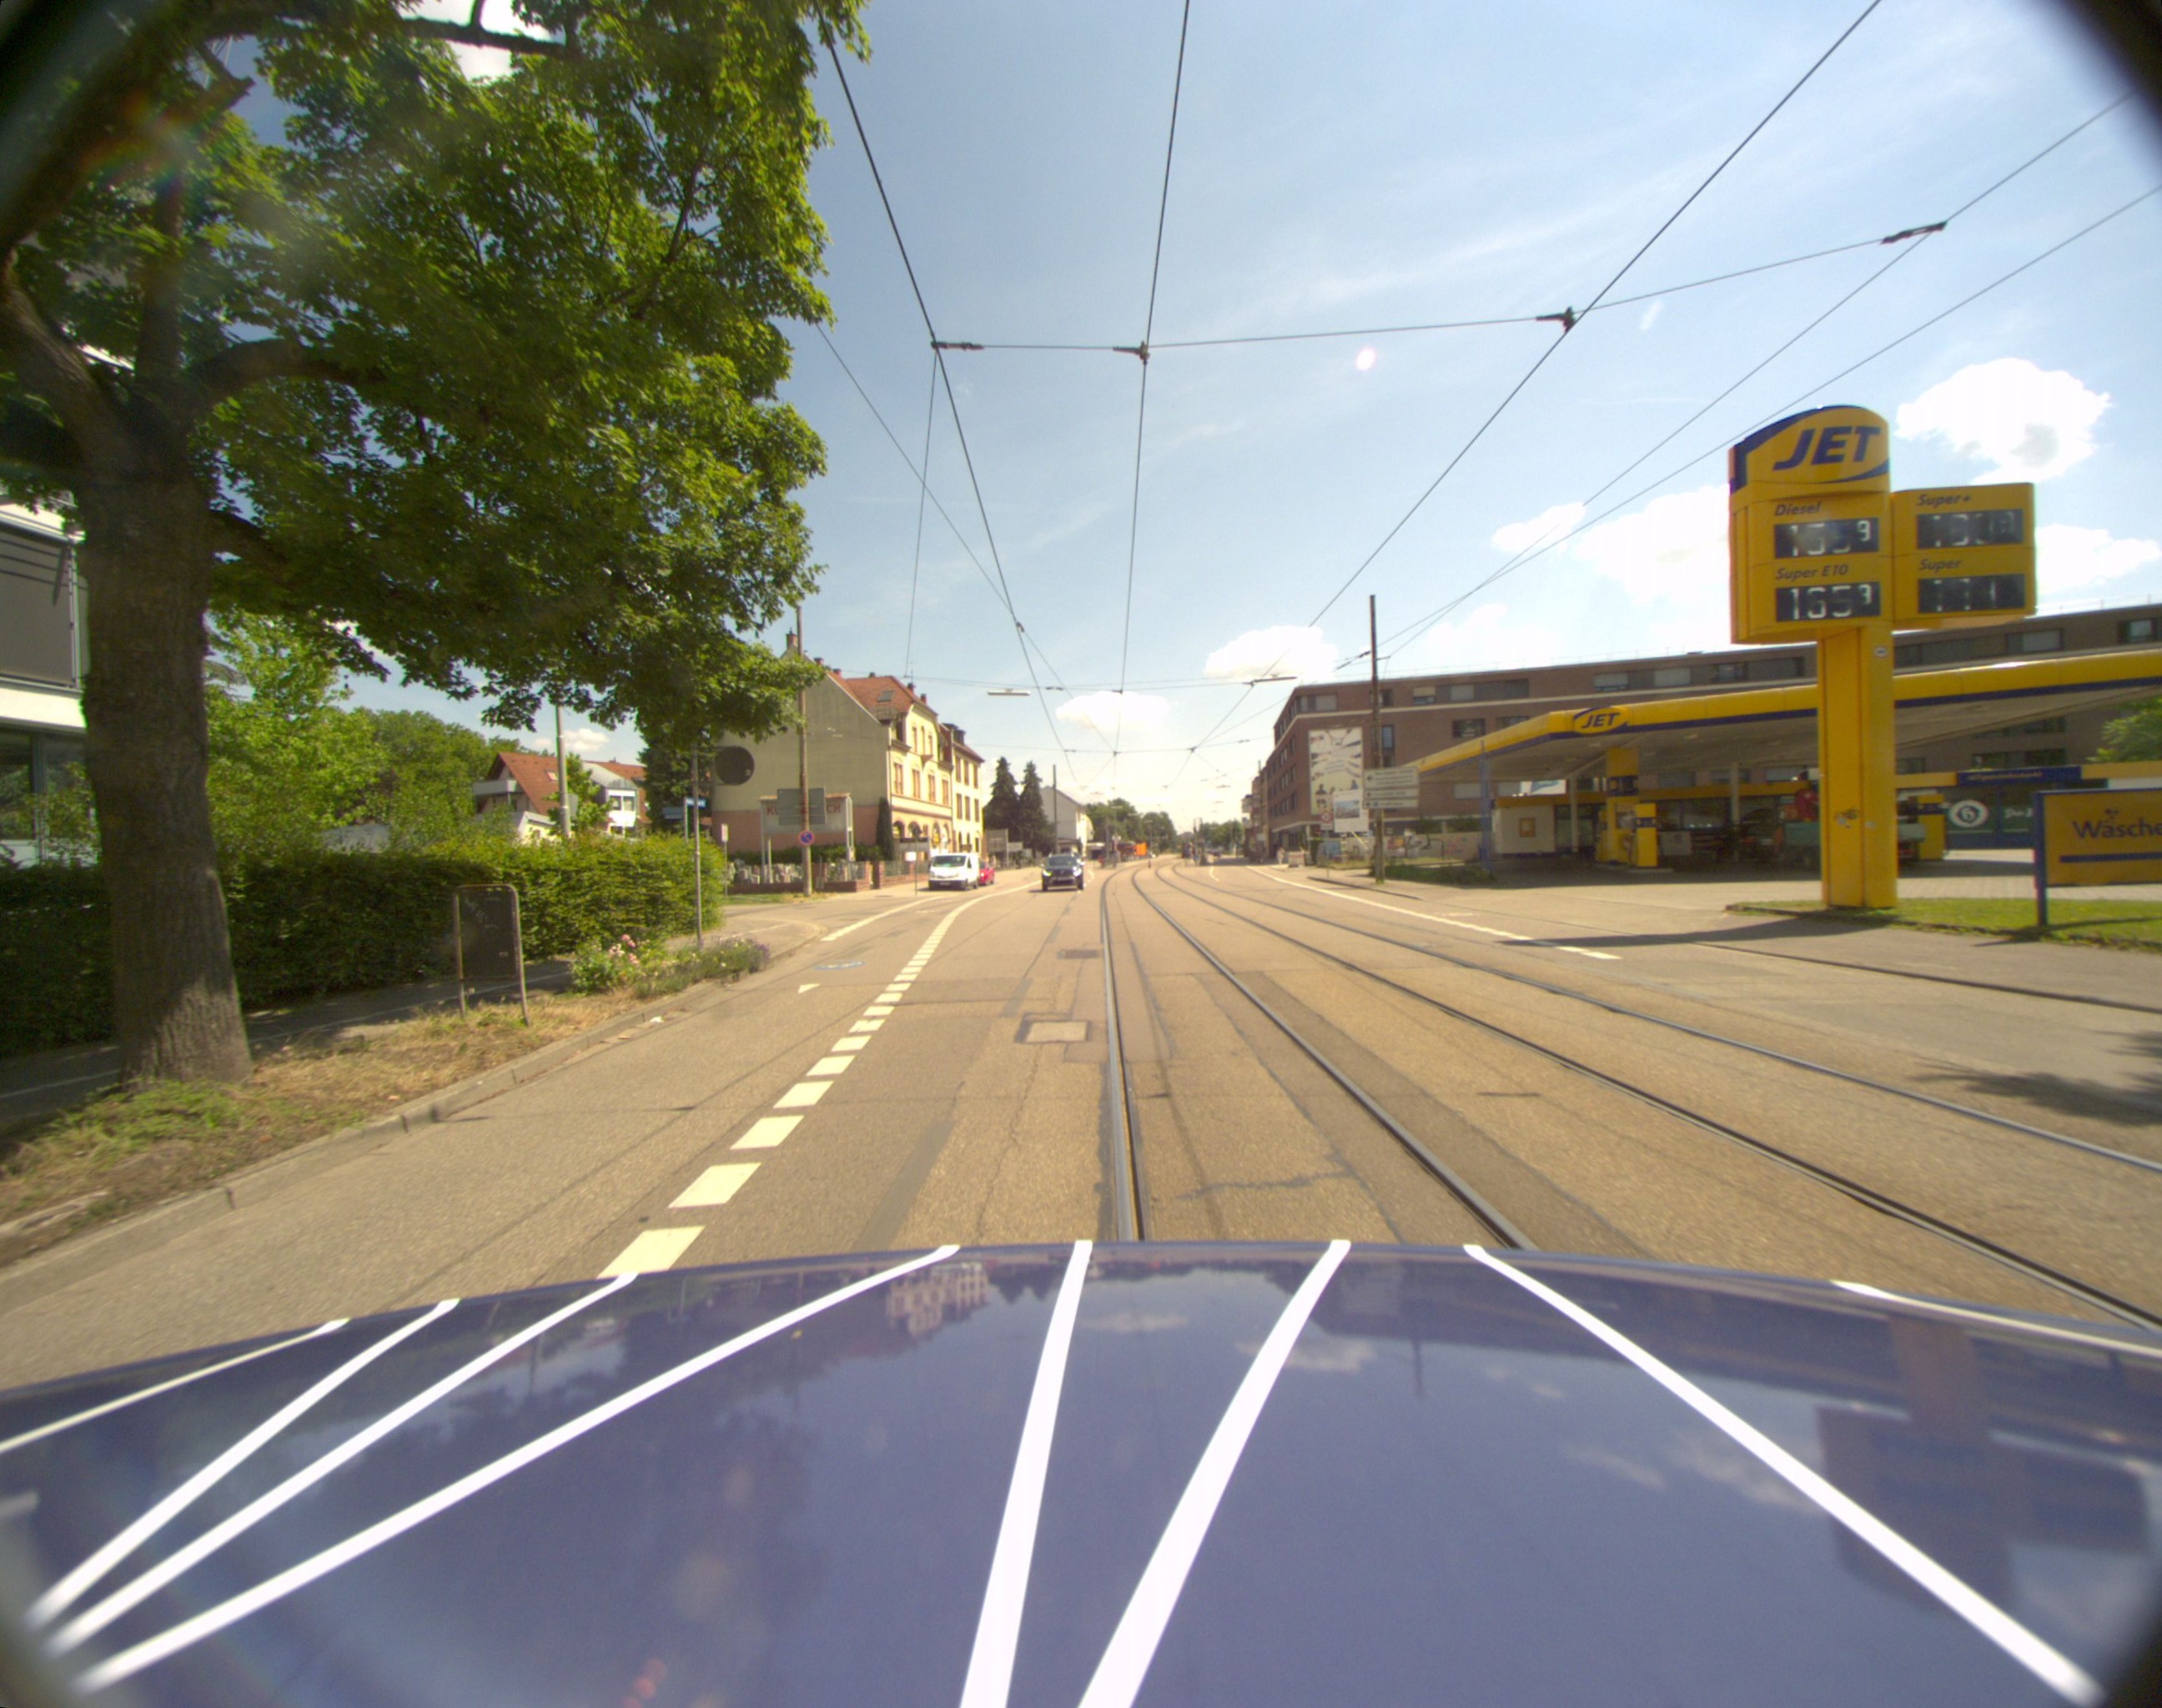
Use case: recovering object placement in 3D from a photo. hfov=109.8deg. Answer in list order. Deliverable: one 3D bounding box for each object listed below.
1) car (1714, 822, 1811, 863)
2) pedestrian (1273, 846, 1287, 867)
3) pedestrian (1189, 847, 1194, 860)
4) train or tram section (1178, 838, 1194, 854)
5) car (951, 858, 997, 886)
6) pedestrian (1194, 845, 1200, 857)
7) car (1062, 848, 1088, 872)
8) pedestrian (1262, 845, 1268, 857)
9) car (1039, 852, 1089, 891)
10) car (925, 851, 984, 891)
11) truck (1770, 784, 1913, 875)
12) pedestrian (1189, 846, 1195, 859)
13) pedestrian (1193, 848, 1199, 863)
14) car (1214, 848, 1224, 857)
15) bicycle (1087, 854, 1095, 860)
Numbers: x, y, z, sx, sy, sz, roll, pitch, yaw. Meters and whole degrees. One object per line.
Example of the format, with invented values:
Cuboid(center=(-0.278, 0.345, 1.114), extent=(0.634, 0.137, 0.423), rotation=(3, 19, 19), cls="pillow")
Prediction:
Cuboid(center=(27.035, -0.448, 30.308), extent=(1.995, 1.470, 4.350), rotation=(-2, 0, 30), cls="car")
Cuboid(center=(15.726, 0.180, 60.169), extent=(0.762, 1.586, 1.000), rotation=(-5, 0, 4), cls="pedestrian")
Cuboid(center=(15.668, -0.031, 107.856), extent=(0.761, 1.789, 0.952), rotation=(-1, 1, 8), cls="pedestrian")
Cuboid(center=(24.110, -1.856, 174.265), extent=(3.241, 3.546, 16.359), rotation=(-2, 0, 9), cls="train or tram section")
Cuboid(center=(-6.361, 1.053, 45.635), extent=(1.998, 1.433, 4.017), rotation=(-3, 0, 3), cls="car")
Cuboid(center=(15.471, -0.388, 101.224), extent=(0.686, 1.587, 0.761), rotation=(-1, 1, 8), cls="pedestrian")
Cuboid(center=(-0.490, 0.479, 66.892), extent=(1.998, 2.002, 4.001), rotation=(-2, 0, 3), cls="car")
Cuboid(center=(25.905, -0.403, 106.930), extent=(0.686, 1.587, 0.761), rotation=(-1, 1, 8), cls="pedestrian")
Cuboid(center=(-0.696, 0.738, 34.115), extent=(1.845, 1.565, 4.488), rotation=(-2, 0, 4), cls="car")
Cuboid(center=(-6.482, 0.824, 39.697), extent=(1.998, 1.980, 5.515), rotation=(0, 0, 2), cls="car")
Cuboid(center=(23.402, -0.732, 23.629), extent=(1.995, 2.483, 5.212), rotation=(-2, 1, 32), cls="truck")
Cuboid(center=(15.763, -0.215, 107.745), extent=(0.761, 1.685, 0.809), rotation=(-1, 1, 8), cls="pedestrian")
Cuboid(center=(13.839, 0.196, 91.335), extent=(0.686, 1.750, 1.034), rotation=(-1, 1, 8), cls="pedestrian")
Cuboid(center=(32.299, -0.283, 178.084), extent=(2.020, 2.002, 4.002), rotation=(-4, 0, 9), cls="car")
Cuboid(center=(1.806, 0.479, 136.775), extent=(1.535, 1.080, 0.430), rotation=(0, 1, 15), cls="bicycle")
